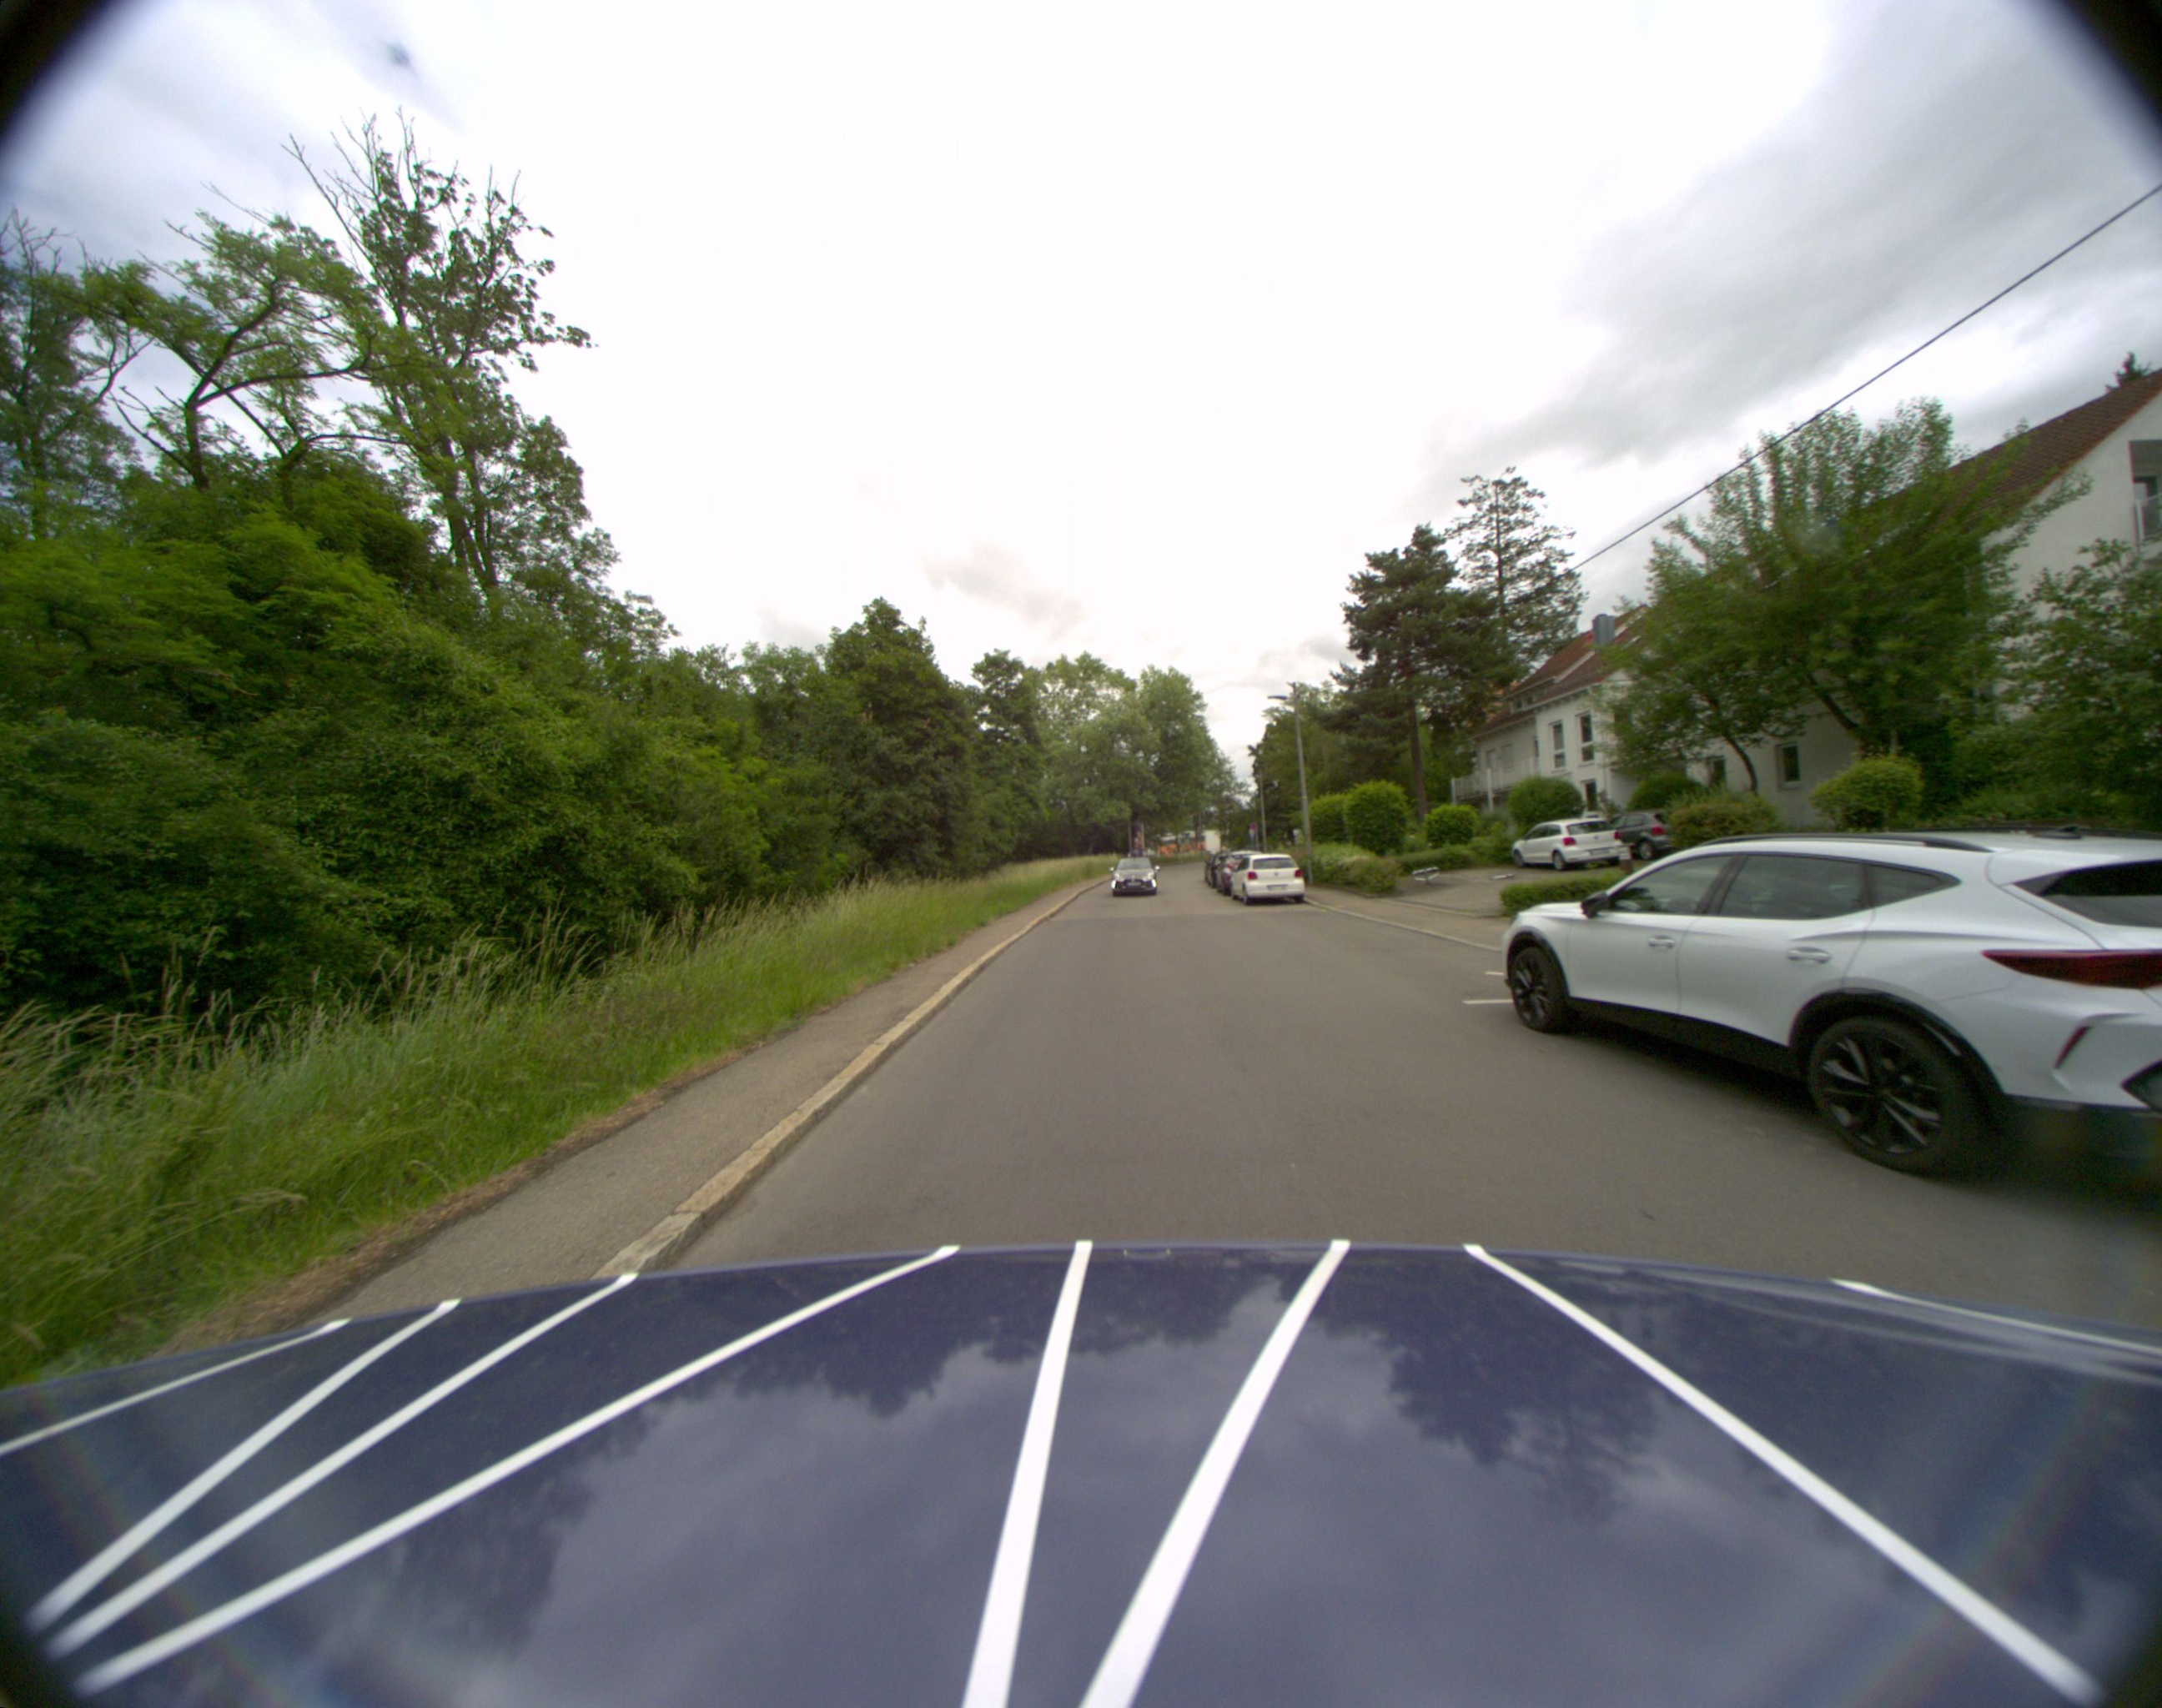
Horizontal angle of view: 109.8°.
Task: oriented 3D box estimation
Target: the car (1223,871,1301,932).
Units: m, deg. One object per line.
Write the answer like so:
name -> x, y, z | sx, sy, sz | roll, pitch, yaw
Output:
car -> 5.555, 1.407, 23.642 | 1.672, 1.376, 3.497 | -4, 3, 3

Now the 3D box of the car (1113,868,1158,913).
car -> 2.261, 1.490, 31.993 | 1.672, 1.376, 3.497 | -4, 3, 3

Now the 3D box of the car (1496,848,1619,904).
car -> 14.746, 0.639, 23.762 | 1.690, 1.480, 3.712 | -5, -1, 6

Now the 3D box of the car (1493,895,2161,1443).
car -> 4.270, 1.111, 4.341 | 1.655, 1.502, 4.000 | -2, 0, 1

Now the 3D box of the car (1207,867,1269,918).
car -> 5.748, 1.378, 28.205 | 1.672, 1.376, 3.497 | -4, 3, 3

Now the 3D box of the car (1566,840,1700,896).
car -> 17.160, 0.398, 23.858 | 1.690, 1.480, 3.712 | -5, 0, 6
